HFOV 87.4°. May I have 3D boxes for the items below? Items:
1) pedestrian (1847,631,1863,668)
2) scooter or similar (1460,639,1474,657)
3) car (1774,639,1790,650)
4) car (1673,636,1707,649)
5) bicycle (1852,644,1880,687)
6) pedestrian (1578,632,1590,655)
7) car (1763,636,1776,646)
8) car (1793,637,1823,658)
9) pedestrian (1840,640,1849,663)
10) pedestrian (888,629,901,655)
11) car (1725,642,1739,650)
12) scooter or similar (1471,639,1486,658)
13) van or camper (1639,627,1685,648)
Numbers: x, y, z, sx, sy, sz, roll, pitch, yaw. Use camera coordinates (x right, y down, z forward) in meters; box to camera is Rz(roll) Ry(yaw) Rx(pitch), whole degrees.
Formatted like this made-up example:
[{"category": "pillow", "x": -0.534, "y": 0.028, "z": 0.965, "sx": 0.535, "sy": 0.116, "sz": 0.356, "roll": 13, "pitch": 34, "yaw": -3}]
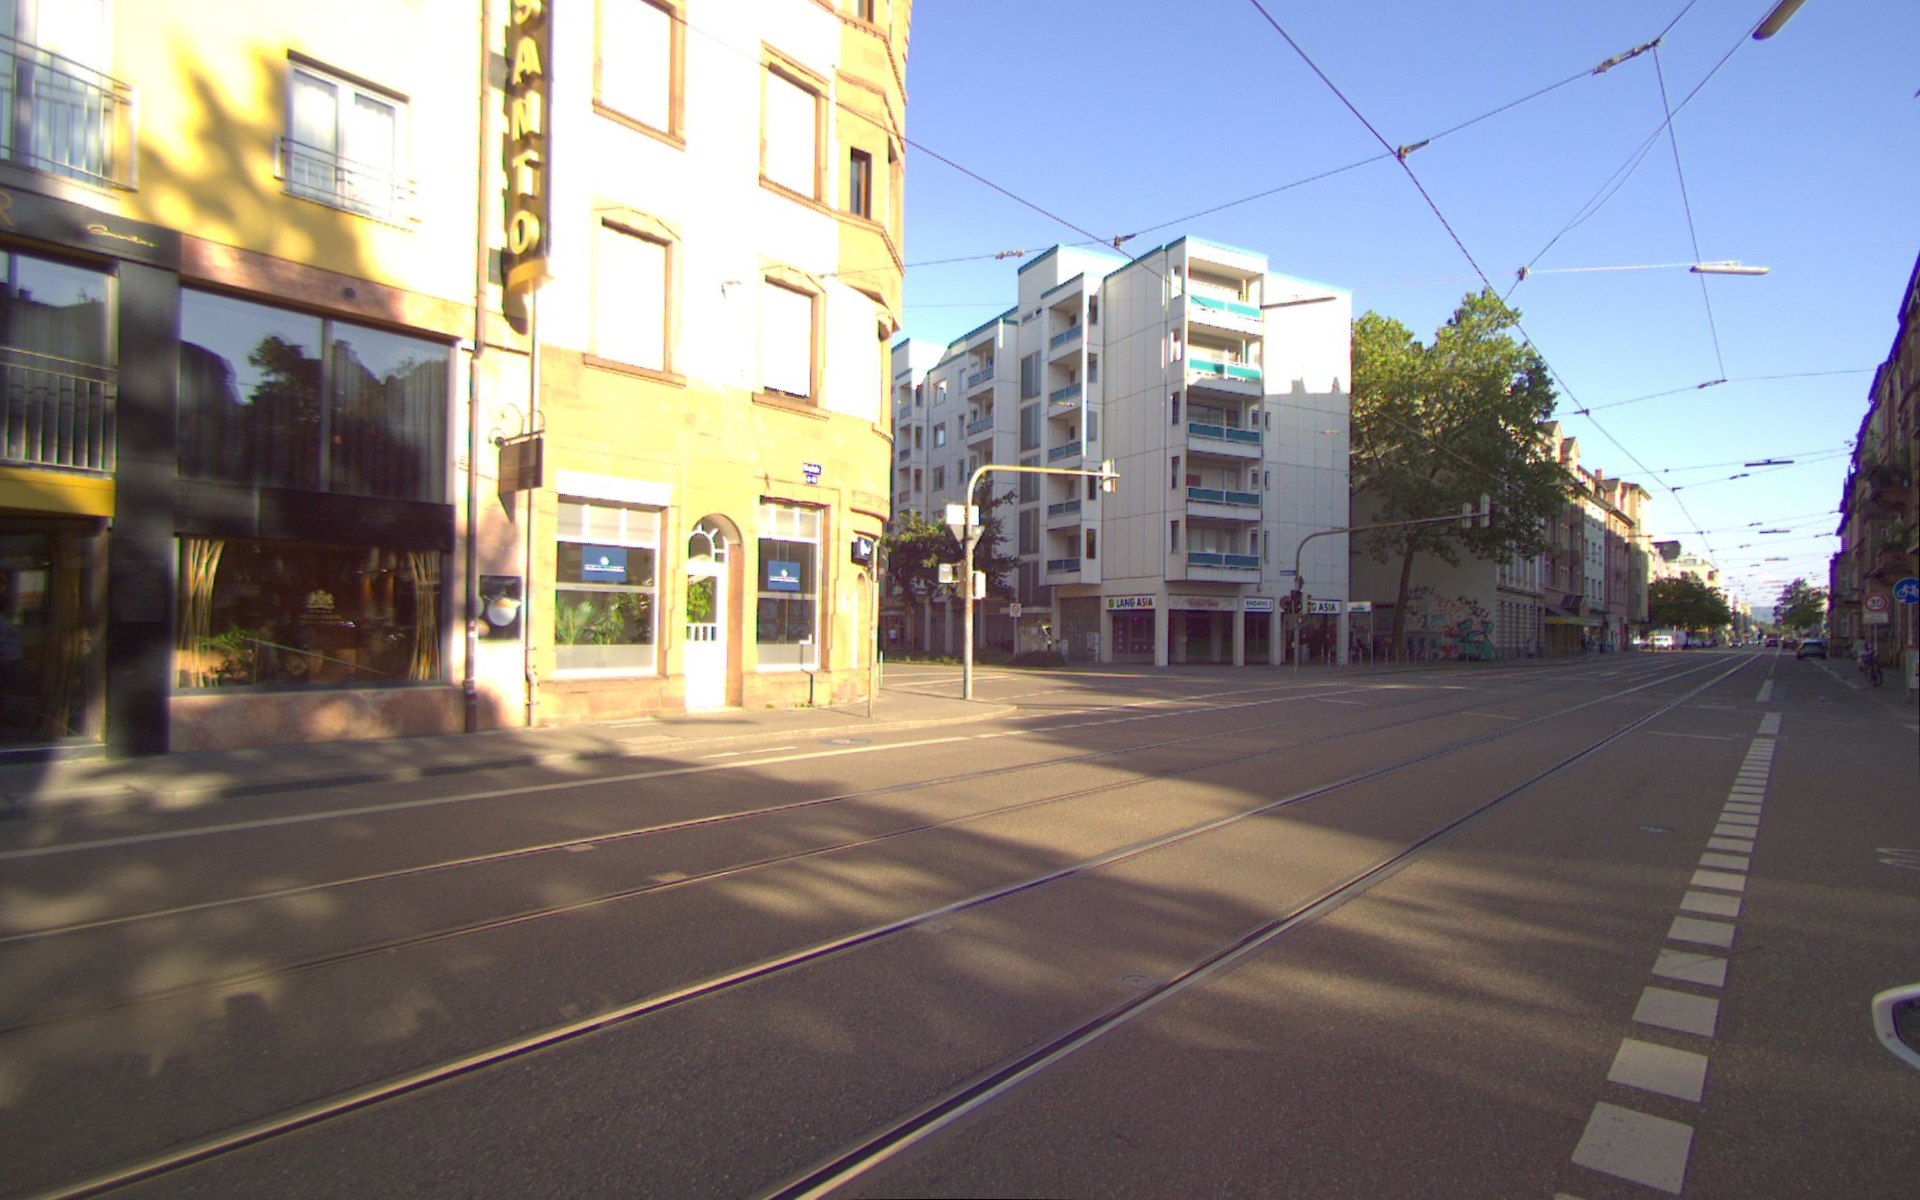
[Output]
[{"category": "pedestrian", "x": 43.592, "y": 2.412, "z": 48.932, "sx": 0.538, "sy": 1.803, "sz": 0.501, "roll": 0, "pitch": -2, "yaw": 41}, {"category": "scooter or similar", "x": 29.804, "y": 2.821, "z": 59.034, "sx": 0.510, "sy": 1.059, "sz": 1.472, "roll": 0, "pitch": -2, "yaw": 38}, {"category": "car", "x": 136.089, "y": 7.338, "z": 166.356, "sx": 1.969, "sy": 1.750, "sz": 3.983, "roll": 0, "pitch": -2, "yaw": 39}, {"category": "car", "x": 116.794, "y": 6.784, "z": 160.702, "sx": 3.919, "sy": 2.040, "sz": 2.001, "roll": 0, "pitch": -2, "yaw": 16}, {"category": "bicycle", "x": 29.320, "y": 2.096, "z": 32.519, "sx": 0.646, "sy": 1.341, "sz": 2.165, "roll": 0, "pitch": -2, "yaw": 42}, {"category": "pedestrian", "x": 46.965, "y": 3.274, "z": 75.628, "sx": 0.693, "sy": 1.751, "sz": 0.645, "roll": -1, "pitch": -2, "yaw": 40}, {"category": "car", "x": 159.058, "y": 8.051, "z": 197.337, "sx": 1.969, "sy": 1.750, "sz": 3.983, "roll": 0, "pitch": -2, "yaw": 39}, {"category": "car", "x": 72.758, "y": 4.033, "z": 86.131, "sx": 1.928, "sy": 1.706, "sz": 3.980, "roll": -1, "pitch": -2, "yaw": 41}, {"category": "pedestrian", "x": 72.579, "y": 4.221, "z": 82.403, "sx": 0.538, "sy": 1.803, "sz": 0.746, "roll": 0, "pitch": -2, "yaw": 41}, {"category": "pedestrian", "x": -4.403, "y": 2.829, "z": 67.828, "sx": 0.654, "sy": 1.718, "sz": 0.644, "roll": 1, "pitch": -1, "yaw": -27}, {"category": "car", "x": 138.847, "y": 8.286, "z": 180.635, "sx": 1.798, "sy": 1.461, "sz": 3.982, "roll": 0, "pitch": -2, "yaw": 40}, {"category": "scooter or similar", "x": 30.285, "y": 2.817, "z": 58.663, "sx": 0.510, "sy": 1.071, "sz": 1.472, "roll": 0, "pitch": -2, "yaw": 38}, {"category": "van or camper", "x": 93.625, "y": 5.004, "z": 134.020, "sx": 4.555, "sy": 2.597, "sz": 2.002, "roll": 1, "pitch": -1, "yaw": 9}]
